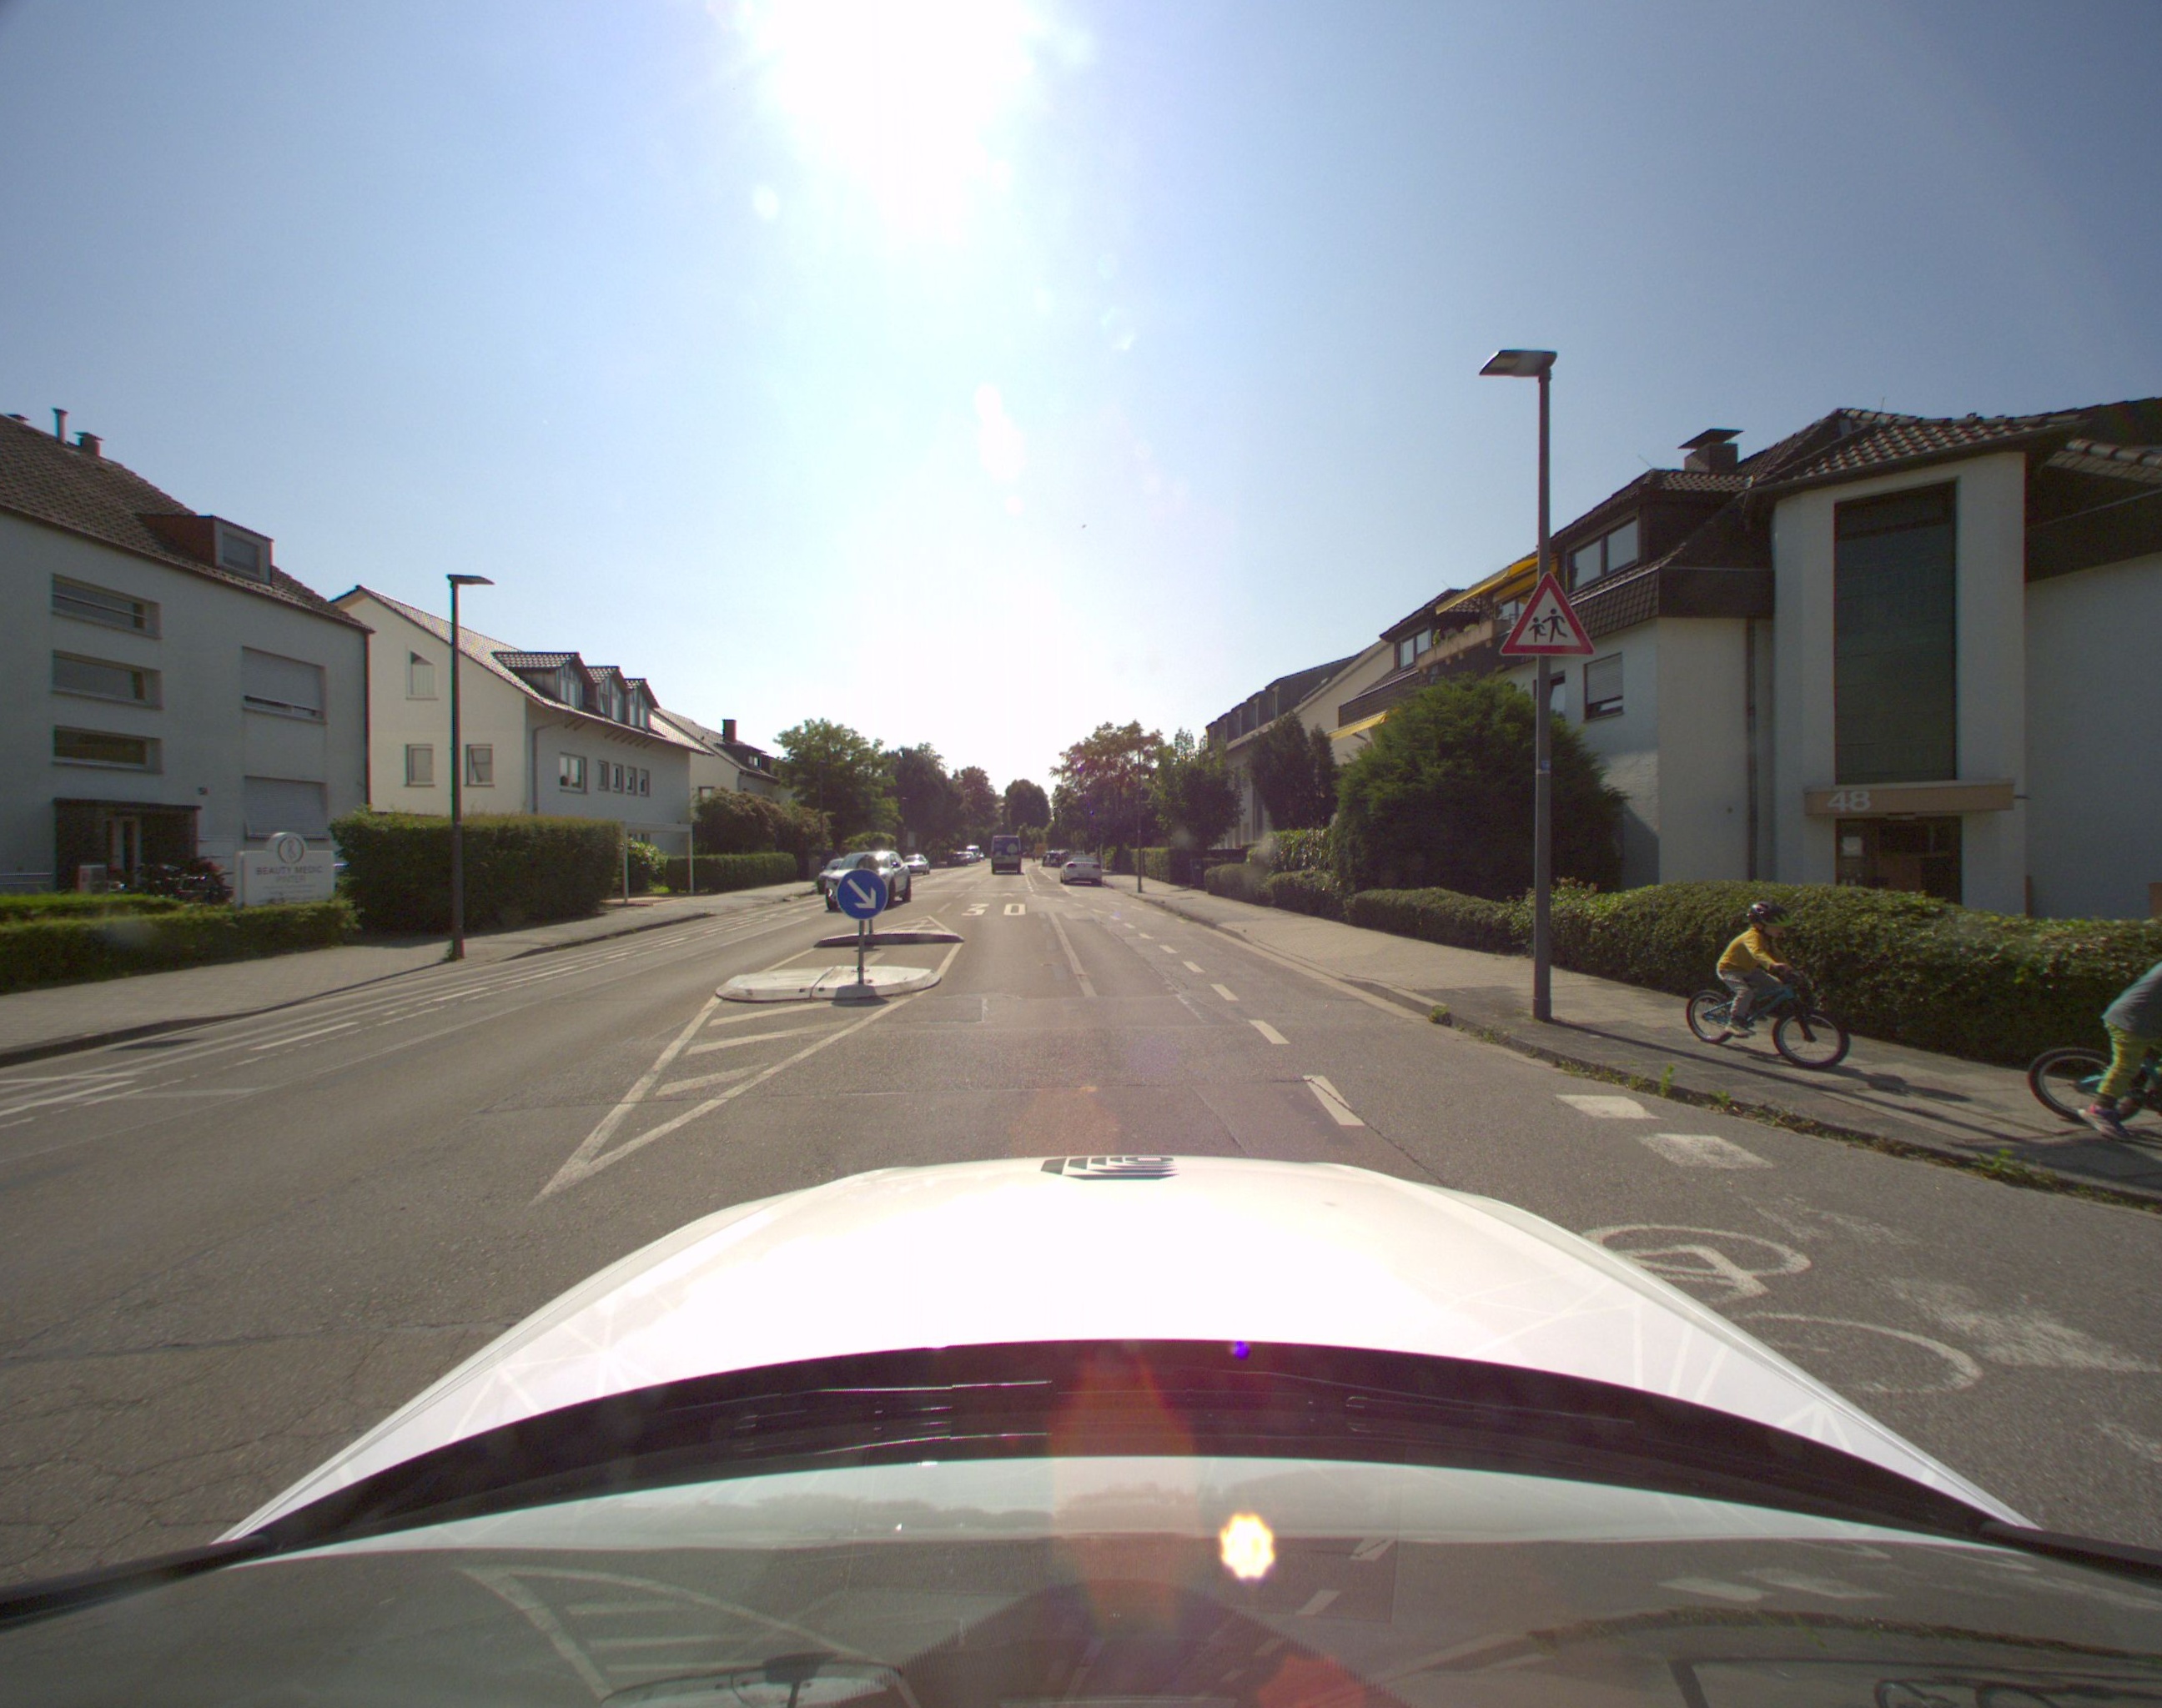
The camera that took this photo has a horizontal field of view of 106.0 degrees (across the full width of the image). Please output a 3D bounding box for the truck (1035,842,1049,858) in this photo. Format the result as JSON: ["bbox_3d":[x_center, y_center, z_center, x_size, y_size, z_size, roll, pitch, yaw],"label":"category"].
[{"bbox_3d":[-7.011,-0.713,146.154,2.208,2.946,5.683,-1,0,-1],"label":"truck"}]

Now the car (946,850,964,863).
[{"bbox_3d":[-14.222,0.278,92.059,1.778,1.460,4.079,0,0,-5],"label":"car"}]

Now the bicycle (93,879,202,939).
[{"bbox_3d":[-15.047,0.866,13.164,0.333,0.874,1.365,3,-1,-10],"label":"bicycle"}]

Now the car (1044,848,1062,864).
[{"bbox_3d":[-2.985,0.192,86.313,1.782,1.638,4.463,-1,0,-5],"label":"car"}]

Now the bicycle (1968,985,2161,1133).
[{"bbox_3d":[5.465,1.073,4.189,0.404,0.599,1.162,-1,1,-31],"label":"bicycle"}]

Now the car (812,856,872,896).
[{"bbox_3d":[-9.995,0.881,34.343,1.784,1.440,4.143,-2,1,-8],"label":"car"}]

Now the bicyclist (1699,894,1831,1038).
[{"bbox_3d":[4.868,0.775,5.824,0.398,0.933,0.607,-1,0,-7],"label":"bicyclist"}]

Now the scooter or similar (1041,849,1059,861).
[{"bbox_3d":[-3.219,0.109,83.626,1.774,1.154,0.724,3,0,40],"label":"scooter or similar"}]

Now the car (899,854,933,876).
[{"bbox_3d":[-11.618,0.750,57.582,1.782,1.440,3.994,-1,0,-4],"label":"car"}]

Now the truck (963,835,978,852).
[{"bbox_3d":[-17.215,-1.640,127.060,2.079,2.537,5.454,-1,1,-7],"label":"truck"}]

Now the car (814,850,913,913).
[{"bbox_3d":[-6.422,0.744,24.582,1.911,1.666,4.501,-2,0,-3],"label":"car"}]

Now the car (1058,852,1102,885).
[{"bbox_3d":[-0.091,0.651,38.607,1.738,1.402,4.066,1,0,-5],"label":"car"}]

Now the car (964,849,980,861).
[{"bbox_3d":[-14.583,0.151,109.385,1.831,1.595,3.771,-1,0,-3],"label":"car"}]

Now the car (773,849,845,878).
[{"bbox_3d":[-17.532,0.609,52.565,3.979,1.759,1.997,-1,1,-4],"label":"car"}]

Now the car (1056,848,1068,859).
[{"bbox_3d":[-2.752,-0.081,120.568,1.696,1.677,3.773,-1,0,-1],"label":"car"}]

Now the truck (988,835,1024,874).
[{"bbox_3d":[-5.300,0.004,57.064,2.271,2.571,4.381,-1,0,-7],"label":"truck"}]

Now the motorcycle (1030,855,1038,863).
[{"bbox_3d":[-6.608,0.705,113.599,1.054,1.122,2.988,-1,0,-4],"label":"motorcycle"}]

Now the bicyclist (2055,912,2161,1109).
[{"bbox_3d":[5.489,0.785,4.086,0.401,0.929,0.655,-1,0,-10],"label":"bicyclist"}]

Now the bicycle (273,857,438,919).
[{"bbox_3d":[-14.815,0.670,16.737,2.450,1.106,0.532,-1,6,-36],"label":"bicycle"}]

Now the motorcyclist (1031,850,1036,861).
[{"bbox_3d":[-6.563,0.155,113.400,0.671,1.518,0.651,-1,0,-4],"label":"motorcyclist"}]

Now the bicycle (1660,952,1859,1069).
[{"bbox_3d":[4.863,1.094,5.916,0.401,0.599,1.148,-1,1,-7],"label":"bicycle"}]
